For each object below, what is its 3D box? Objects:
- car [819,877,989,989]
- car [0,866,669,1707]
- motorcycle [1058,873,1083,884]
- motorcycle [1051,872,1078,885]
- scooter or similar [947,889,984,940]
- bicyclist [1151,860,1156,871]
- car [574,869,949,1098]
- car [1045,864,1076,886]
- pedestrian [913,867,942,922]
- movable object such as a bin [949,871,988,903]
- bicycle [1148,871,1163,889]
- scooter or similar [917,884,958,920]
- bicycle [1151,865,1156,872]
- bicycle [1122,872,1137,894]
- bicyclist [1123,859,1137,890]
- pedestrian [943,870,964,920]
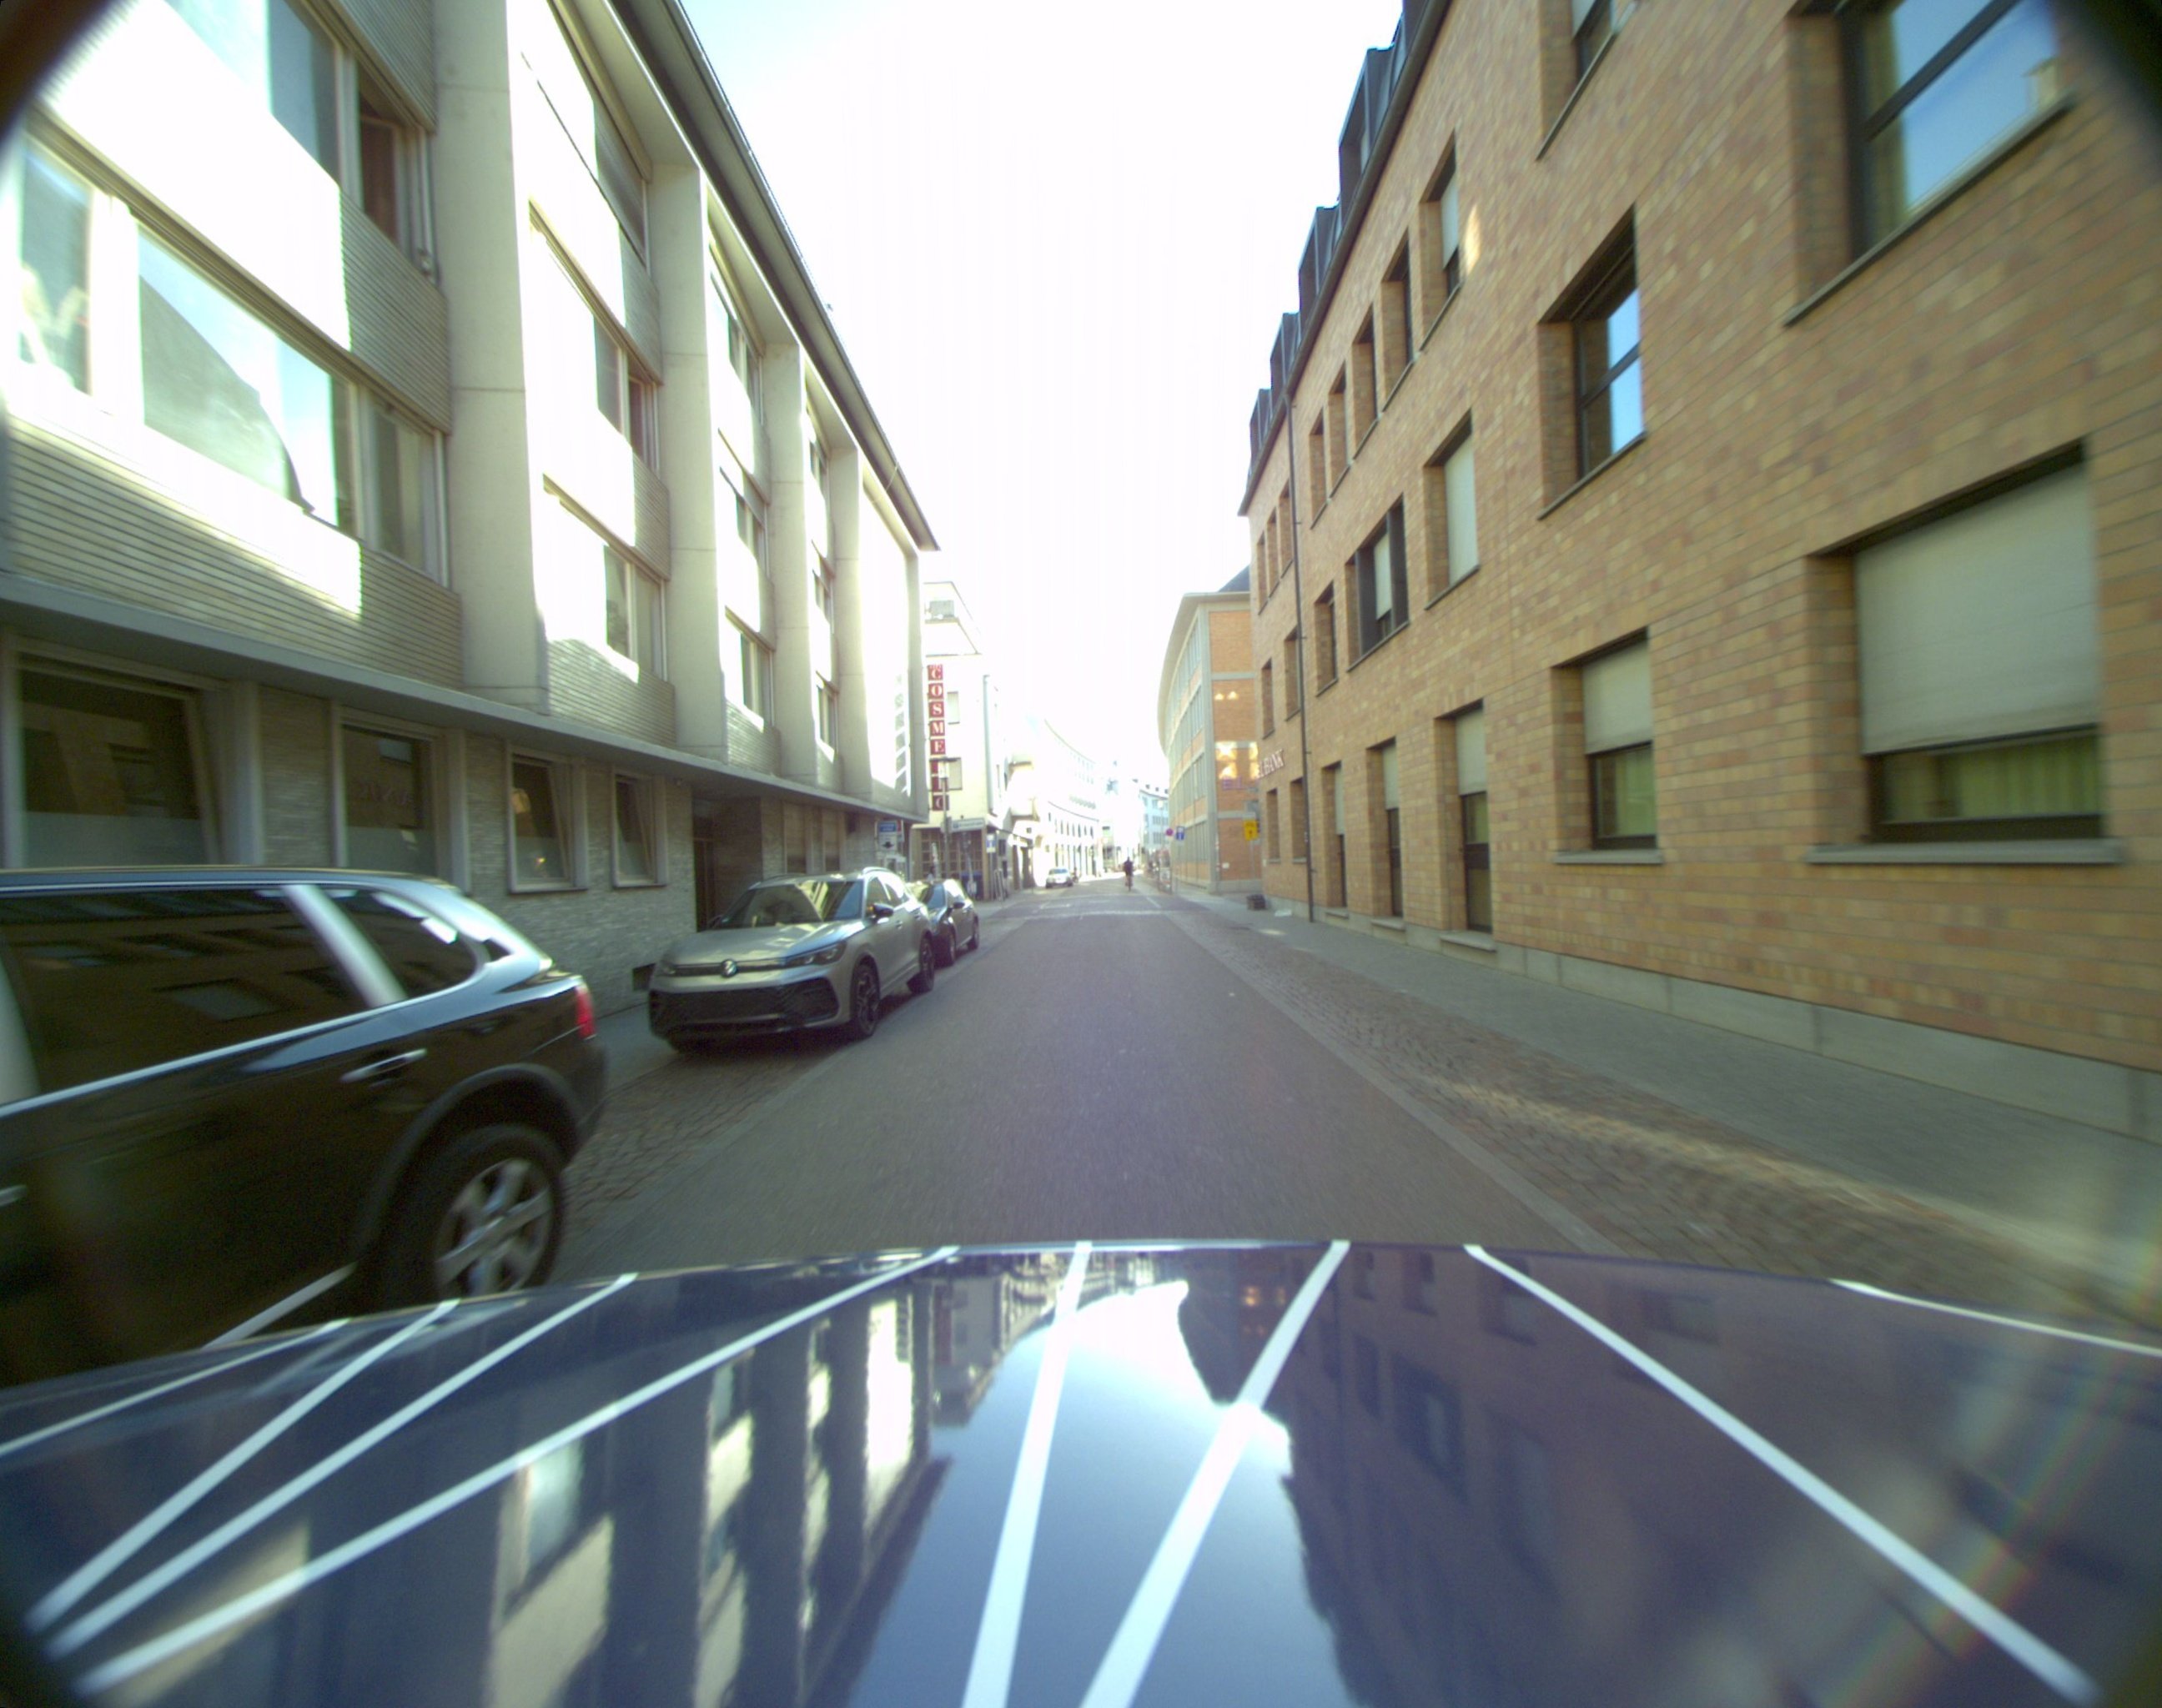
[{"bbox_3d":[-3.003,1.290,13.990,1.827,1.495,4.600,-5,-1,2],"label":"car"},{"bbox_3d":[-3.157,0.973,1.169,2.108,1.775,5.052,-3,-1,1],"label":"car"},{"bbox_3d":[-0.896,2.108,65.483,1.995,0.950,0.646,-2,0,16],"label":"motorcycle"},{"bbox_3d":[-1.326,1.995,61.589,1.995,0.950,0.646,-2,0,16],"label":"motorcycle"},{"bbox_3d":[-2.866,1.474,18.781,0.495,1.187,1.304,-2,0,-27],"label":"scooter or similar"},{"bbox_3d":[10.201,1.641,107.337,0.580,1.565,0.692,-2,-1,7],"label":"bicyclist"},{"bbox_3d":[-3.014,1.097,8.572,1.998,1.692,4.844,-4,-1,1],"label":"car"},{"bbox_3d":[-1.417,1.471,54.370,1.846,1.453,4.000,-3,-1,3],"label":"car"},{"bbox_3d":[-4.936,1.286,24.440,0.625,1.726,0.623,-2,0,45],"label":"pedestrian"},{"bbox_3d":[-5.481,1.589,36.964,1.438,1.454,1.126,-2,-1,-40],"label":"movable object such as a bin"},{"bbox_3d":[4.809,1.665,48.973,0.628,1.047,1.822,-2,-1,-4],"label":"bicycle"},{"bbox_3d":[-4.816,1.591,25.522,0.869,1.169,1.047,-2,-2,44],"label":"scooter or similar"},{"bbox_3d":[10.199,2.065,107.308,0.576,0.955,1.721,-2,-1,8],"label":"bicycle"},{"bbox_3d":[2.636,1.551,41.307,0.652,1.125,1.736,2,0,1],"label":"bicycle"},{"bbox_3d":[2.648,1.129,41.415,0.664,1.633,0.926,2,1,1],"label":"bicyclist"},{"bbox_3d":[-3.982,1.280,23.709,0.574,1.531,0.440,1,0,-15],"label":"pedestrian"}]
